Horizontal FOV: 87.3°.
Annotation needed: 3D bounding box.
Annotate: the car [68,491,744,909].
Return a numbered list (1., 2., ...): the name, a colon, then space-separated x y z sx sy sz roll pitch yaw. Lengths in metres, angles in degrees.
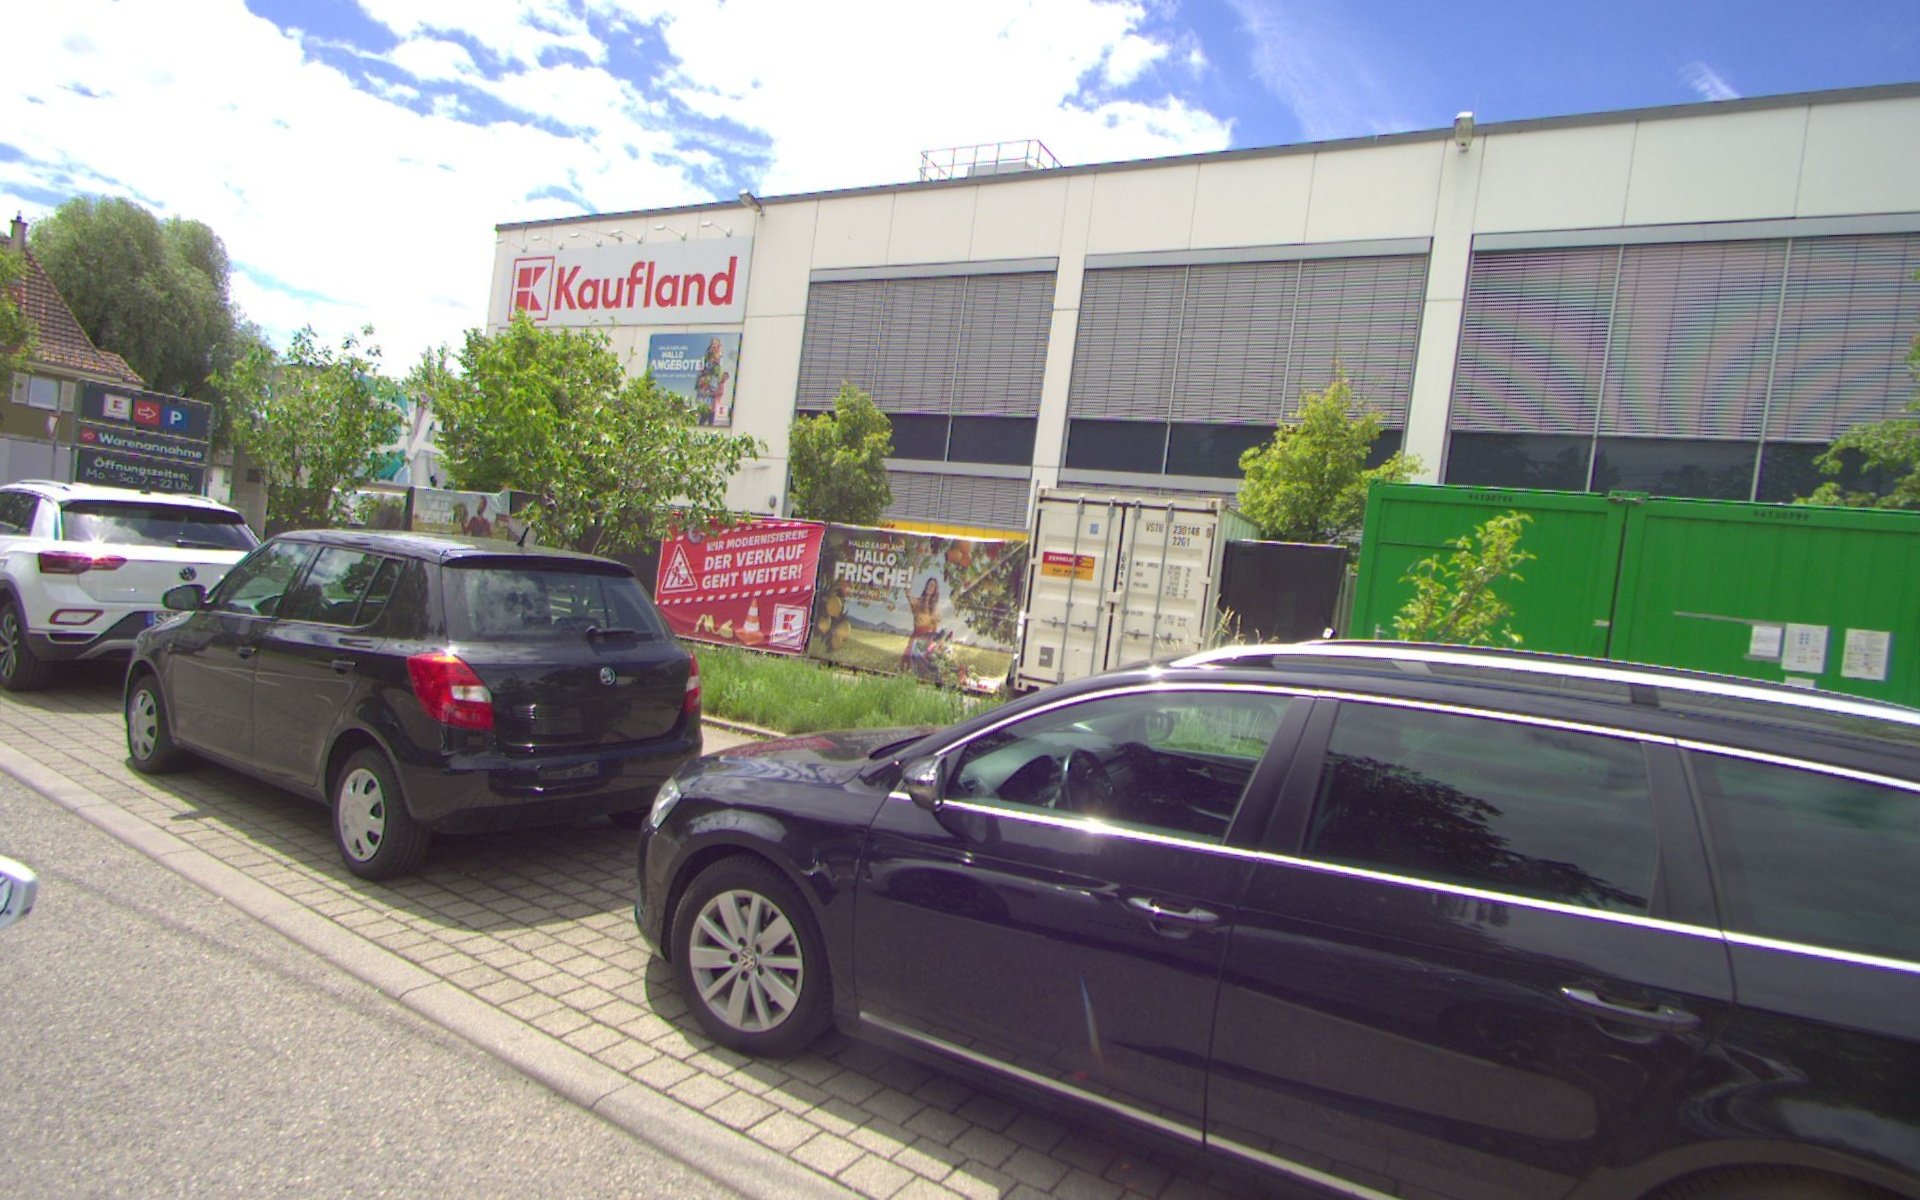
1. car: -3.265 0.320 5.675 3.934 1.512 1.569 7 2 32

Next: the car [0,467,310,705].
1. car: -7.764 -0.266 8.857 4.314 1.638 1.737 6 3 32

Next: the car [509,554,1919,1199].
1. car: 0.956 0.829 3.151 4.852 1.497 1.765 6 3 30
